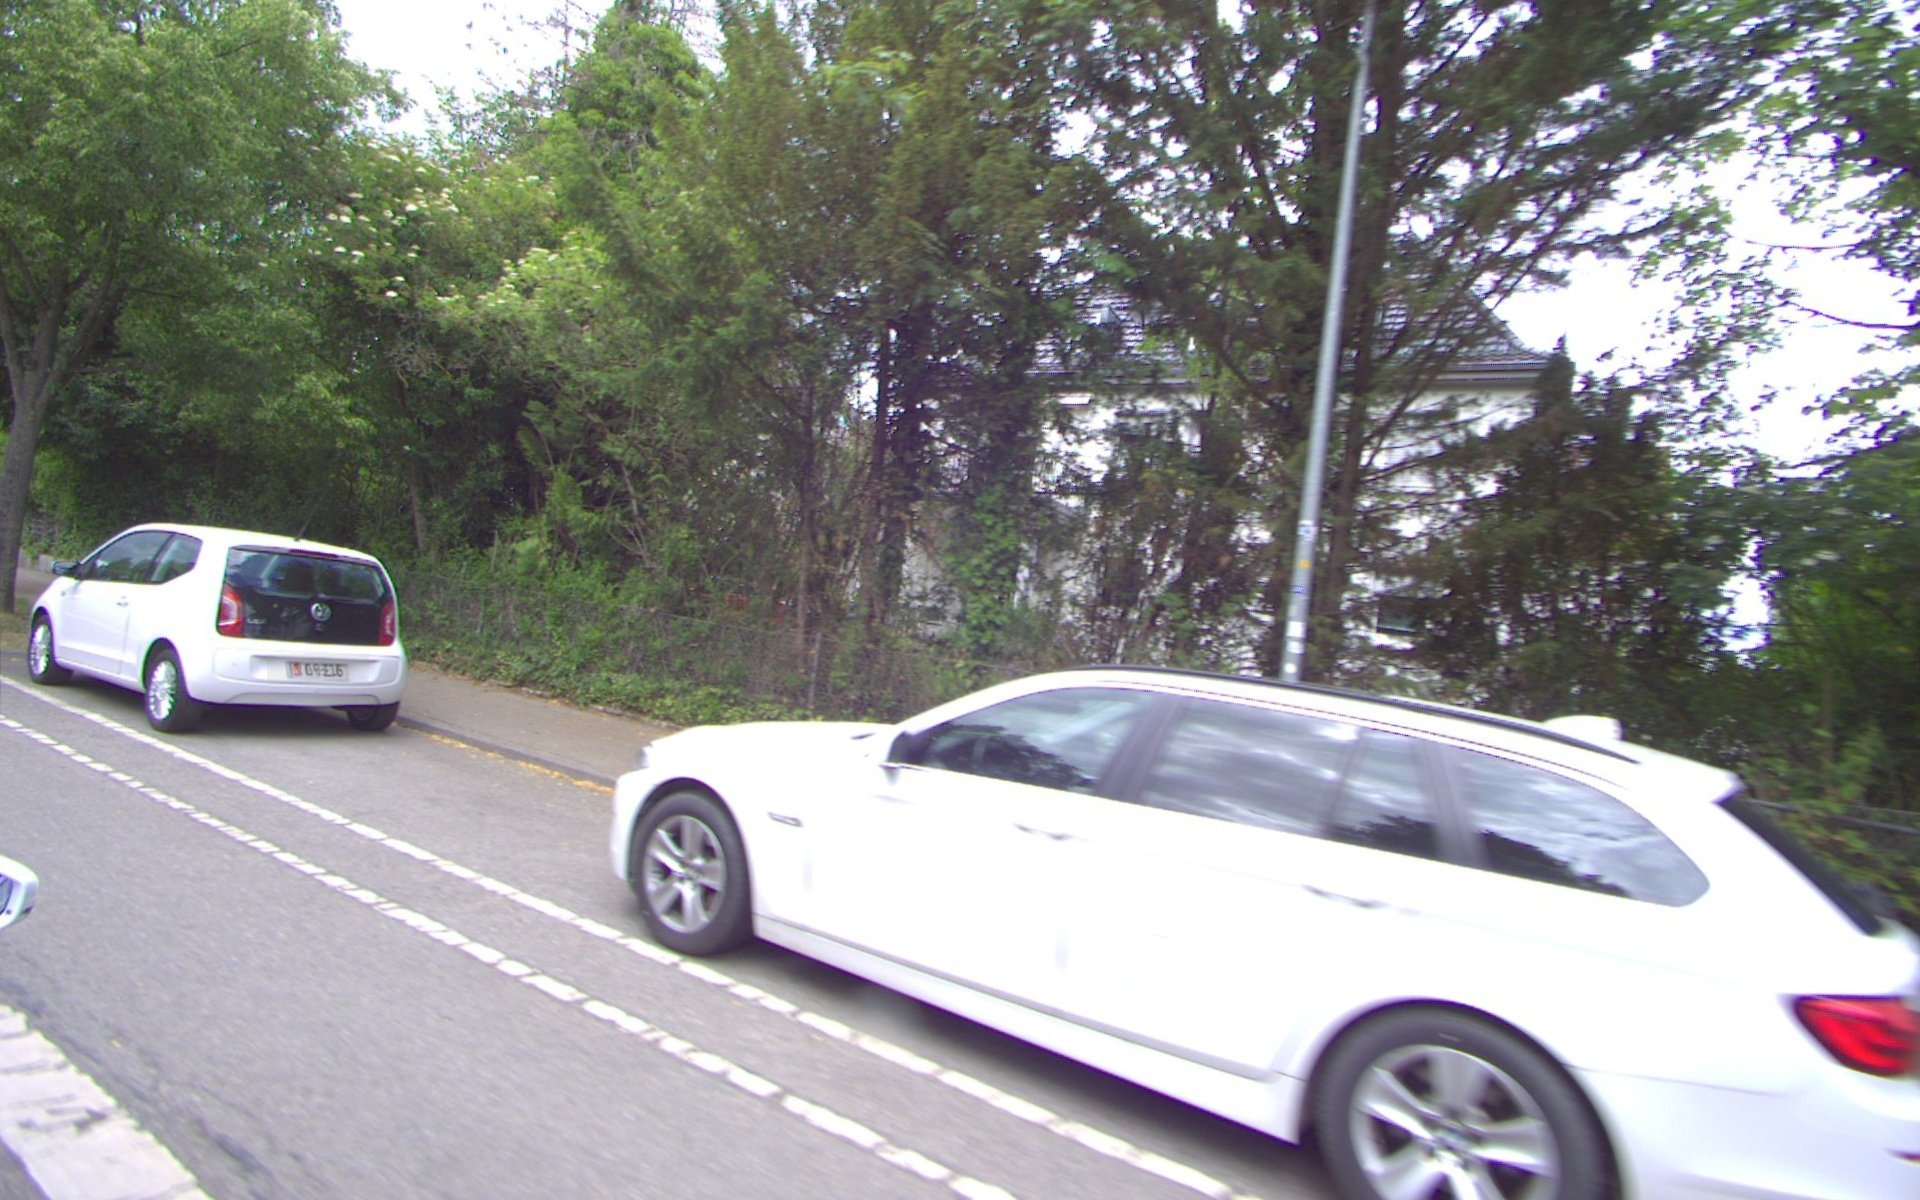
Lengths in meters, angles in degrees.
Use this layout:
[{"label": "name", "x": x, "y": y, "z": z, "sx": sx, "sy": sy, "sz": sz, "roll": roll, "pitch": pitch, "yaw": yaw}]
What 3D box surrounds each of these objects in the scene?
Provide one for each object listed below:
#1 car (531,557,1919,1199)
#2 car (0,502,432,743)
[{"label": "car", "x": 0.702, "y": 0.875, "z": 4.200, "sx": 4.942, "sy": 1.460, "sz": 2.025, "roll": 7, "pitch": -2, "yaw": 32}, {"label": "car", "x": -6.339, "y": 0.137, "z": 8.474, "sx": 3.596, "sy": 1.477, "sz": 1.618, "roll": 7, "pitch": -1, "yaw": 32}]
